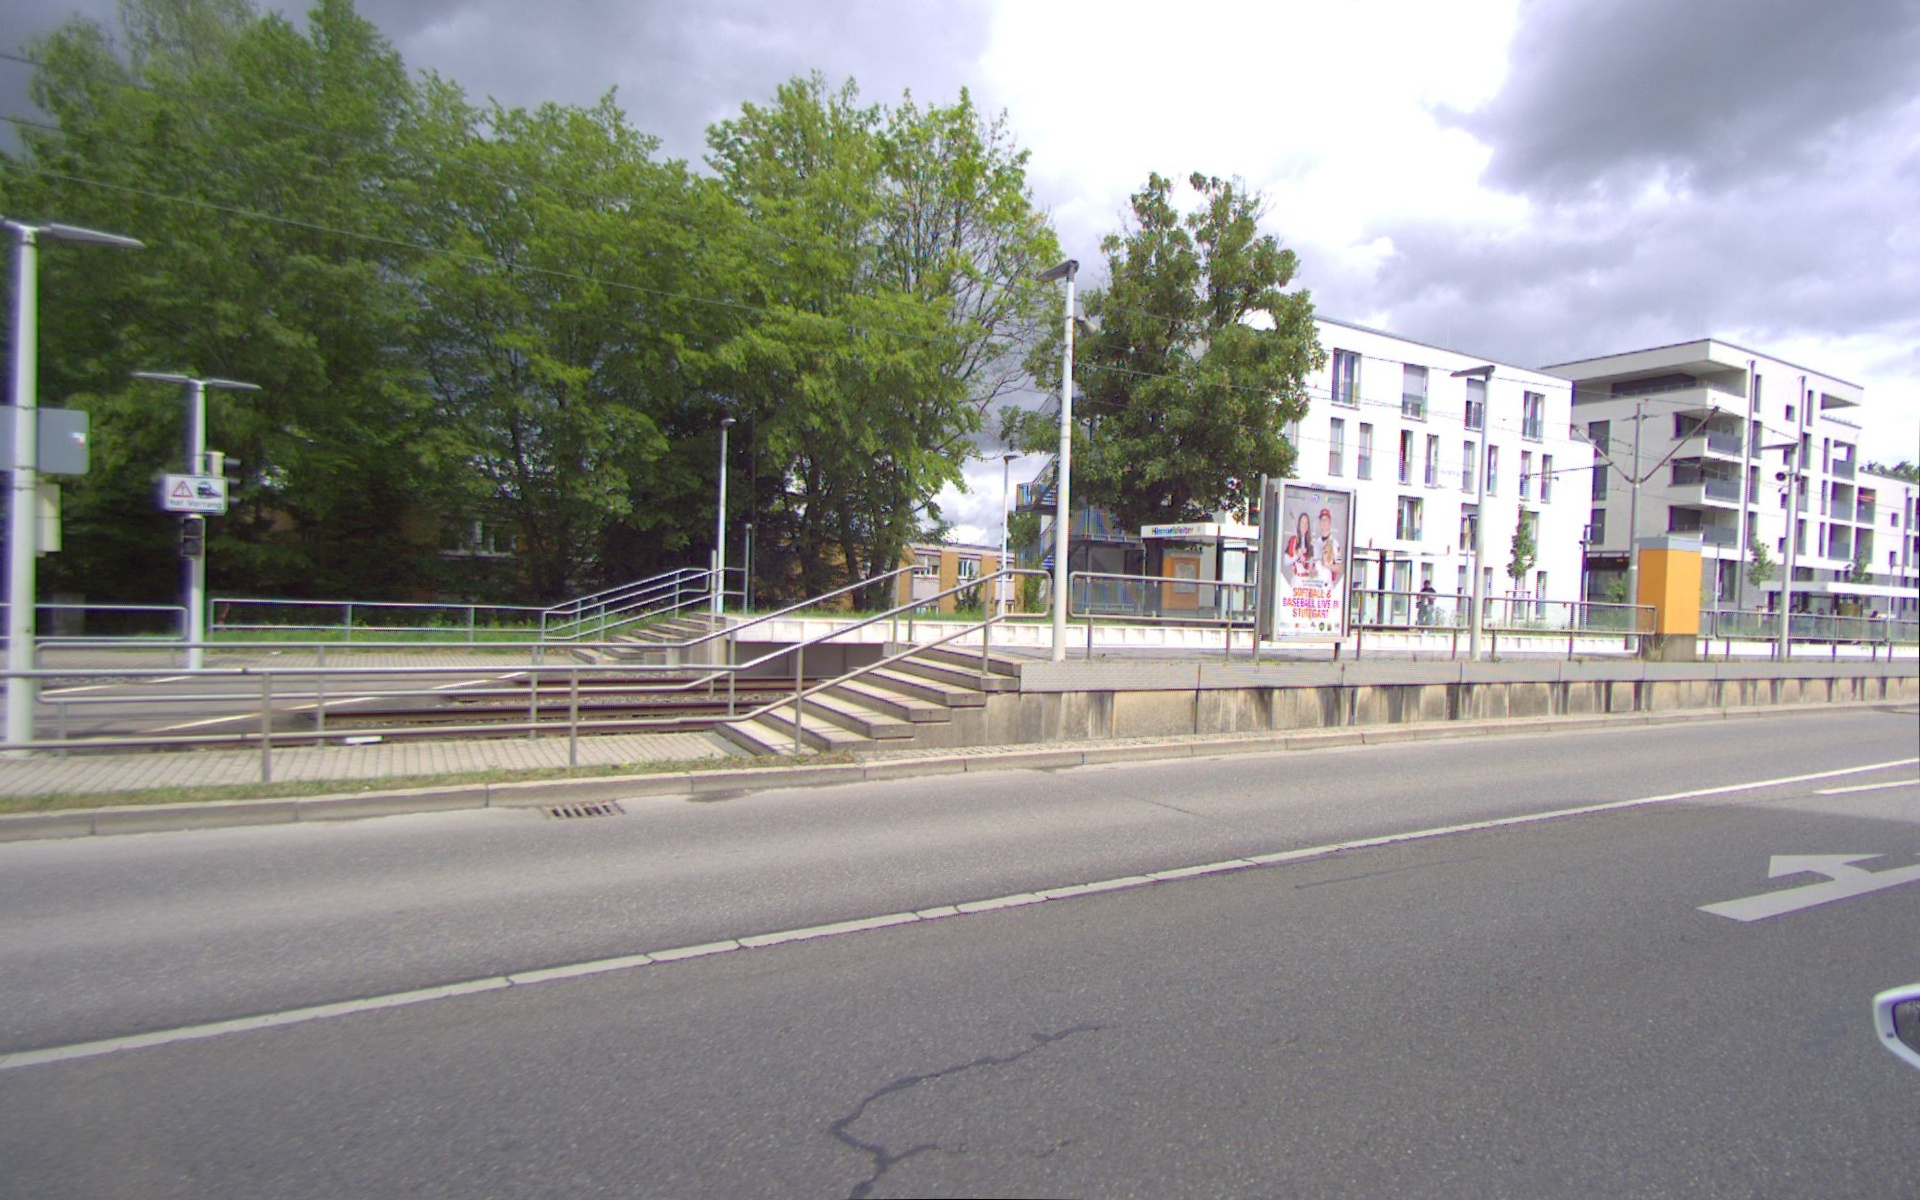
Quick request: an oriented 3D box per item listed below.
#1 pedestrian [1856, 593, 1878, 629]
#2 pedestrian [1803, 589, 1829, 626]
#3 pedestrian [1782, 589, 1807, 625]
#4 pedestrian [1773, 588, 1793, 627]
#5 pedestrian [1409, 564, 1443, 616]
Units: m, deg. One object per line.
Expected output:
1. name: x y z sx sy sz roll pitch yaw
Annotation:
1. pedestrian: 45.275 0.562 50.127 0.669 1.789 0.559 1 1 -28
2. pedestrian: 38.223 0.323 44.840 0.664 1.618 0.489 2 1 5
3. pedestrian: 37.192 0.307 44.784 0.664 1.618 0.489 2 1 13
4. pedestrian: 37.426 0.349 45.678 0.480 1.748 0.677 2 1 26
5. pedestrian: 14.145 -0.312 30.494 0.540 1.551 0.738 1 1 -27
